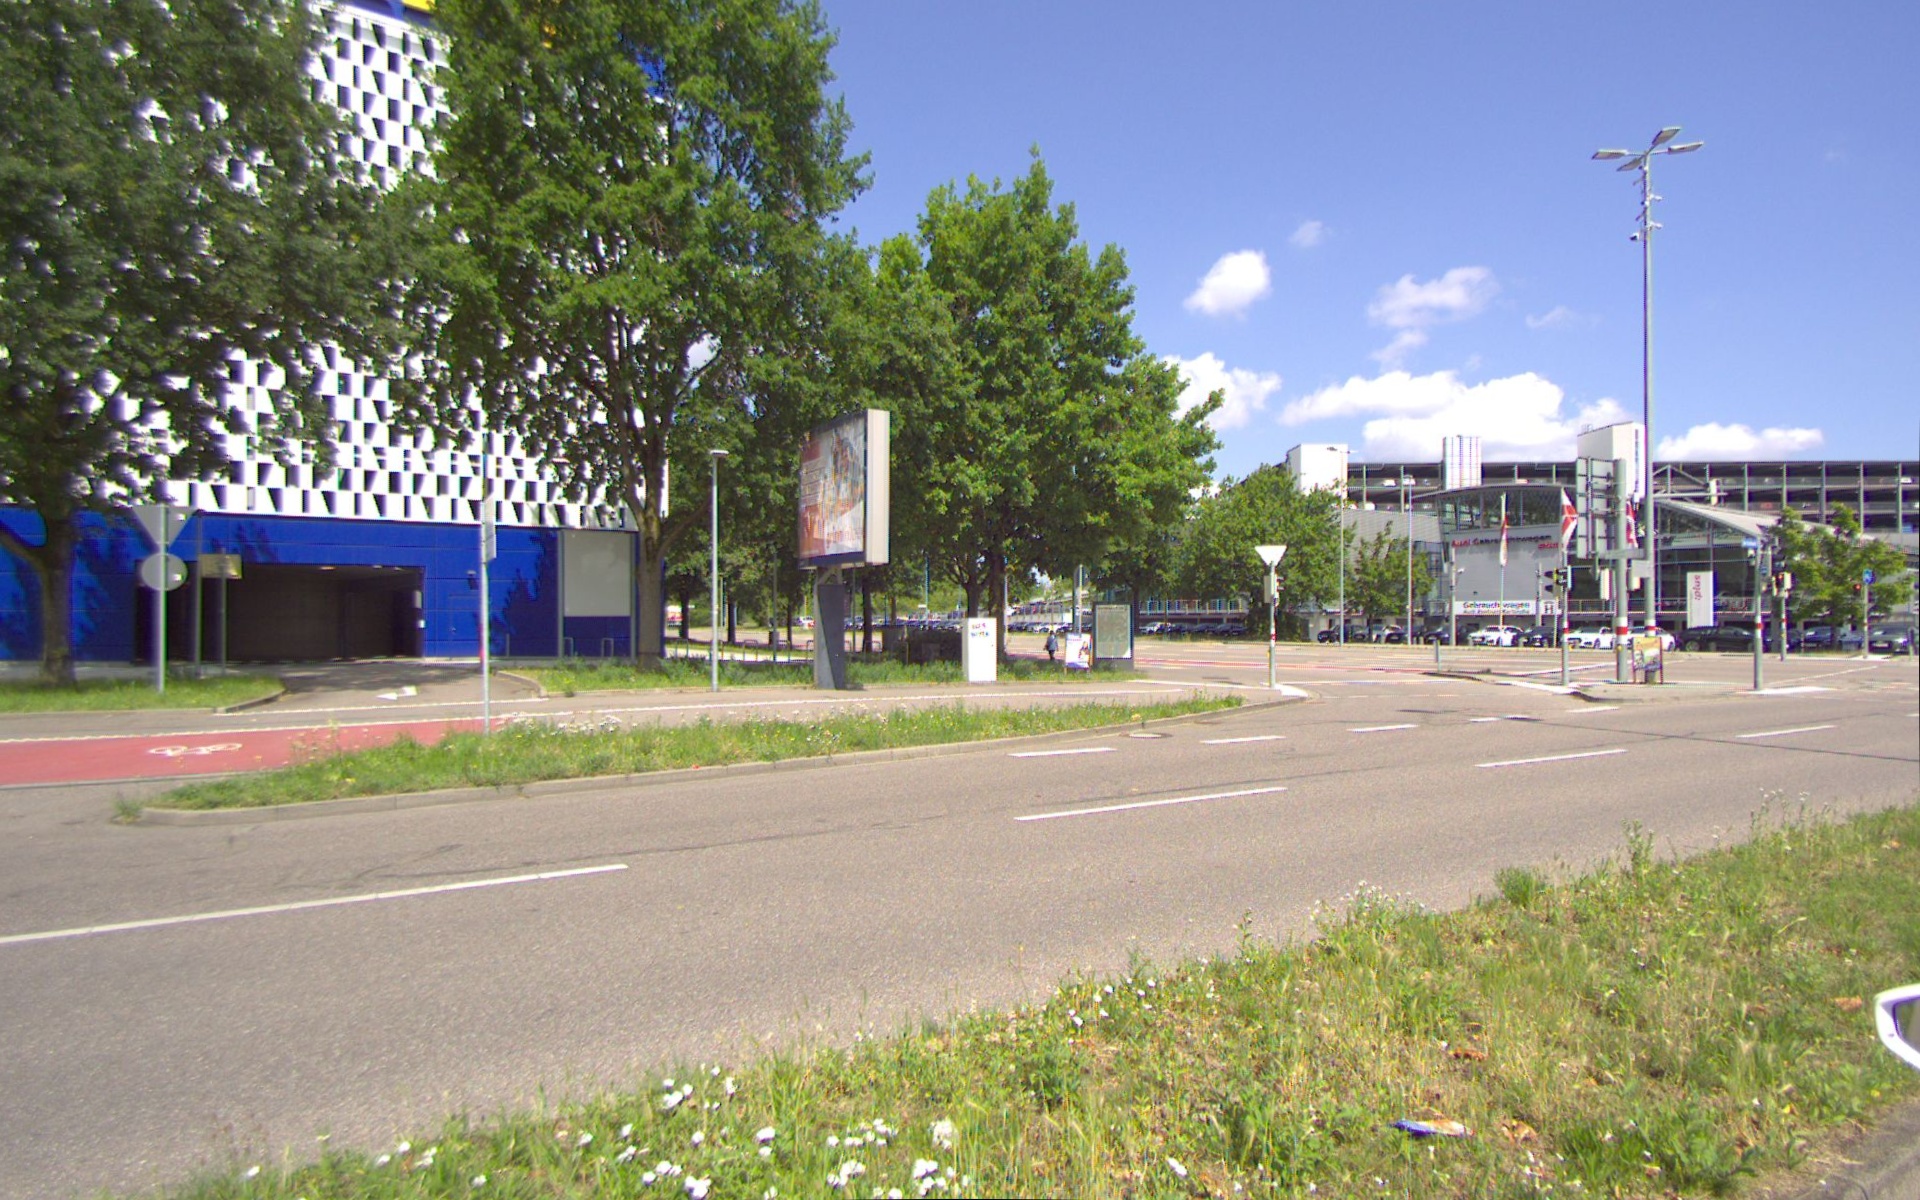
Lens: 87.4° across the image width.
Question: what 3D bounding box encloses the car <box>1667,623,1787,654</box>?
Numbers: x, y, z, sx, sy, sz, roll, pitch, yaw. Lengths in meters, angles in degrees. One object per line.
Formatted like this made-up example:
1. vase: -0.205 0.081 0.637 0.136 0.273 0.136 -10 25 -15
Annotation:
1. car: 40.105 1.999 52.638 1.778 1.483 4.710 5 -4 -34

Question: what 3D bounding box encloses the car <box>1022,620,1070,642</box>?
1. car: 8.654 3.132 100.930 4.543 2.076 1.889 2 0 -35

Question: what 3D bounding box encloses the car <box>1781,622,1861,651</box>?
1. car: 42.133 1.777 49.118 4.543 1.315 1.889 2 0 -35

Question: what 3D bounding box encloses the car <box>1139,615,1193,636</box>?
1. car: 17.778 2.189 86.594 4.543 1.700 1.889 2 0 -35

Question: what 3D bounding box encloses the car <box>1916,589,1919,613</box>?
1. car: 76.175 0.135 76.680 1.747 1.825 4.412 2 0 -35

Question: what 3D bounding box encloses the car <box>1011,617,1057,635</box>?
1. car: 7.552 2.648 102.556 4.543 1.700 1.889 2 0 -35

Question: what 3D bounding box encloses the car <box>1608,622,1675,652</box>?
1. car: 37.681 2.049 55.532 3.961 1.483 1.779 5 -4 -35

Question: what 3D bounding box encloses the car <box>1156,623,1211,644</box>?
1. car: 18.786 2.832 84.450 4.543 1.700 1.889 2 0 -35

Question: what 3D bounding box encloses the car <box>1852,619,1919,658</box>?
1. car: 43.527 1.784 46.833 4.543 1.700 1.889 2 0 -35

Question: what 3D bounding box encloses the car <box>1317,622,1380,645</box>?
1. car: 27.436 2.374 70.945 4.544 1.423 1.889 3 -1 -35

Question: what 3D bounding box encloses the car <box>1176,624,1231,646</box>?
1. car: 20.112 2.919 82.931 4.543 1.700 1.889 2 0 -35

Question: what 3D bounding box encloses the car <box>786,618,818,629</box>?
1. car: -23.143 3.413 147.041 4.327 1.533 1.916 2 0 -36

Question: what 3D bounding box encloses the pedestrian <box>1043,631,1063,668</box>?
1. pedestrian: 3.972 2.109 42.896 0.499 1.576 0.753 0 -1 -34

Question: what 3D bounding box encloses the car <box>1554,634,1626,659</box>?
1. car: 36.283 2.646 57.807 4.543 1.315 1.889 2 0 -35

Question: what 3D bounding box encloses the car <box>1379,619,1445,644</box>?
1. car: 29.991 2.101 66.581 4.544 1.402 1.889 4 -1 -35

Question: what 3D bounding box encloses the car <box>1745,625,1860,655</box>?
1. car: 48.170 2.270 57.500 1.966 1.530 4.710 5 -4 -34

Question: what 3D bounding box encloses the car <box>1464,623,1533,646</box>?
1. car: 33.313 2.162 62.072 4.543 1.315 1.889 2 0 -35

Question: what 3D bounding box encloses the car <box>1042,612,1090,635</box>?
1. car: 10.369 2.320 97.994 4.543 2.076 1.889 2 0 -35

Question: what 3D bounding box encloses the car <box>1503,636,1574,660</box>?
1. car: 34.597 2.841 60.021 4.543 1.315 1.889 2 0 -35

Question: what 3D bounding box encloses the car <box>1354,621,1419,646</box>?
1. car: 29.103 2.289 68.463 4.545 1.423 1.889 5 -2 -35
